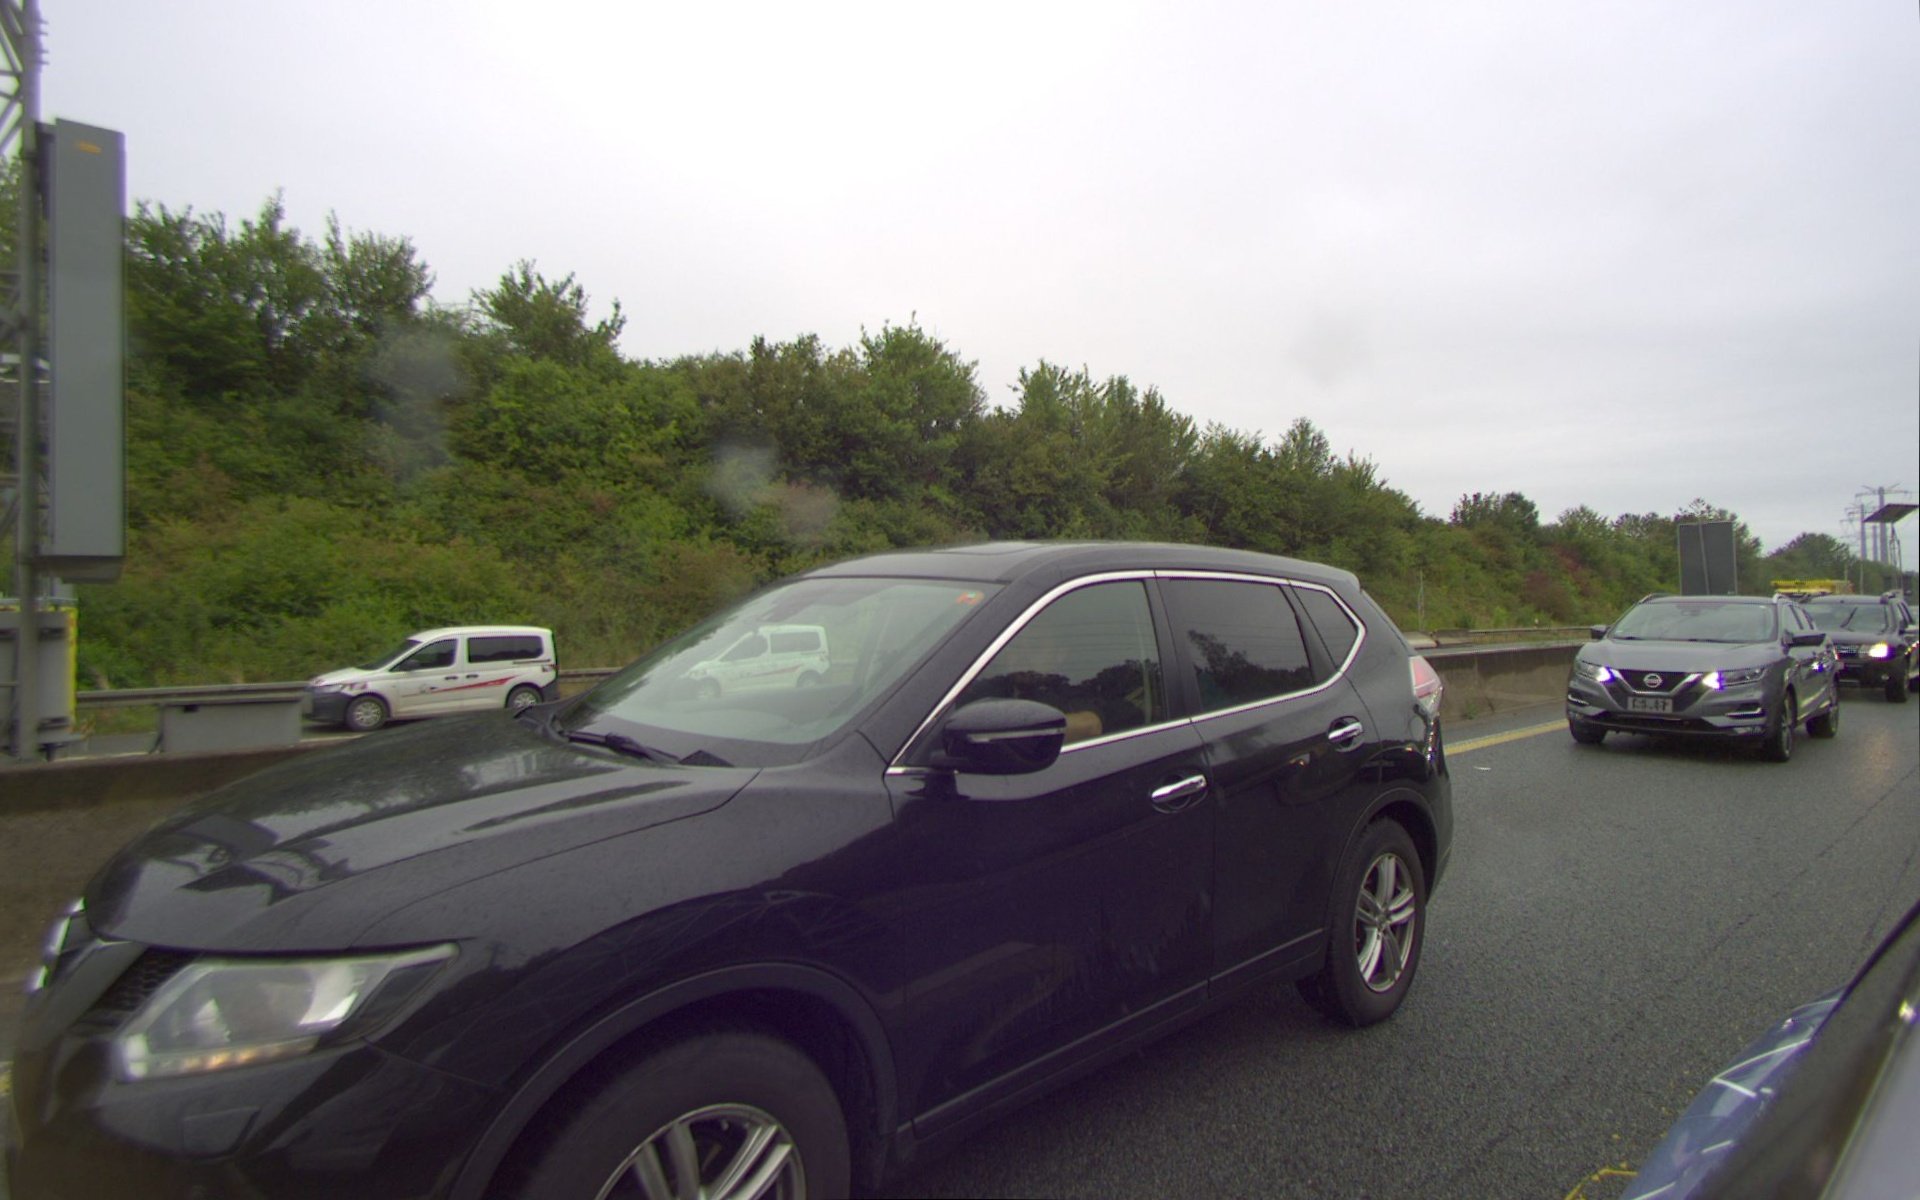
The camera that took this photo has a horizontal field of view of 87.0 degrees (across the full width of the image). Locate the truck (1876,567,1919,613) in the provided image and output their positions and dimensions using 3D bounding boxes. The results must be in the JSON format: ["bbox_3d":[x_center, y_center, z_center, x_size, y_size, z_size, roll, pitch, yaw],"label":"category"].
[{"bbox_3d":[74.600,-0.795,78.979,9.406,3.467,3.328,-1,1,-40],"label":"truck"}]

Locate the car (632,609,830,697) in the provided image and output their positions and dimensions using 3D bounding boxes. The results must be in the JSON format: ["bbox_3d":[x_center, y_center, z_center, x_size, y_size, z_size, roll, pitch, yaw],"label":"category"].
[{"bbox_3d":[-5.309,1.164,23.785,4.256,1.792,1.731,-1,1,-42],"label":"car"}]

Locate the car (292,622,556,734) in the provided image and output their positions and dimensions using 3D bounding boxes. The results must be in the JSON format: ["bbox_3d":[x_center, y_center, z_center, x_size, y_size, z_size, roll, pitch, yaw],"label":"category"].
[{"bbox_3d":[-10.157,1.378,19.372,4.195,1.780,1.731,-1,1,-42],"label":"car"}]

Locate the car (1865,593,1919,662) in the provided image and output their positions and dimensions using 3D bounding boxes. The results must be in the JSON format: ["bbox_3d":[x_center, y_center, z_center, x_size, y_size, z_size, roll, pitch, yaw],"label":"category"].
[{"bbox_3d":[22.657,0.592,23.686,4.053,1.509,1.782,-1,1,-42],"label":"car"}]

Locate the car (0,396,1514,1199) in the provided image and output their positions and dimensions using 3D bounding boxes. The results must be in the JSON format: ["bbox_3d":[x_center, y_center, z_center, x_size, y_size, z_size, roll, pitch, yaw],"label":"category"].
[{"bbox_3d":[-0.021,0.593,3.358,4.562,1.696,1.892,-1,1,-42],"label":"car"}]

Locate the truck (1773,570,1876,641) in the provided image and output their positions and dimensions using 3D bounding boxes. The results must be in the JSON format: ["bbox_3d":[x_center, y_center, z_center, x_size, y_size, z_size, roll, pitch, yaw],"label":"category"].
[{"bbox_3d":[45.686,0.224,53.363,9.406,3.467,2.618,-1,0,-40],"label":"truck"}]

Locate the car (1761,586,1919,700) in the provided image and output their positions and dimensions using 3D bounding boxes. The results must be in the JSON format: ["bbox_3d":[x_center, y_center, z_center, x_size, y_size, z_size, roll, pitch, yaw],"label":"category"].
[{"bbox_3d":[14.496,0.588,16.367,4.053,1.618,1.782,-1,1,-42],"label":"car"}]

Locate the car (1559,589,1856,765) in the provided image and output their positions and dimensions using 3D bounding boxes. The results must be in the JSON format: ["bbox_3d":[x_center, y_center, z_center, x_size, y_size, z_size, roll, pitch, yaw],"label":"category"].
[{"bbox_3d":[8.039,0.642,10.747,4.053,1.509,1.782,-1,1,-42],"label":"car"}]
